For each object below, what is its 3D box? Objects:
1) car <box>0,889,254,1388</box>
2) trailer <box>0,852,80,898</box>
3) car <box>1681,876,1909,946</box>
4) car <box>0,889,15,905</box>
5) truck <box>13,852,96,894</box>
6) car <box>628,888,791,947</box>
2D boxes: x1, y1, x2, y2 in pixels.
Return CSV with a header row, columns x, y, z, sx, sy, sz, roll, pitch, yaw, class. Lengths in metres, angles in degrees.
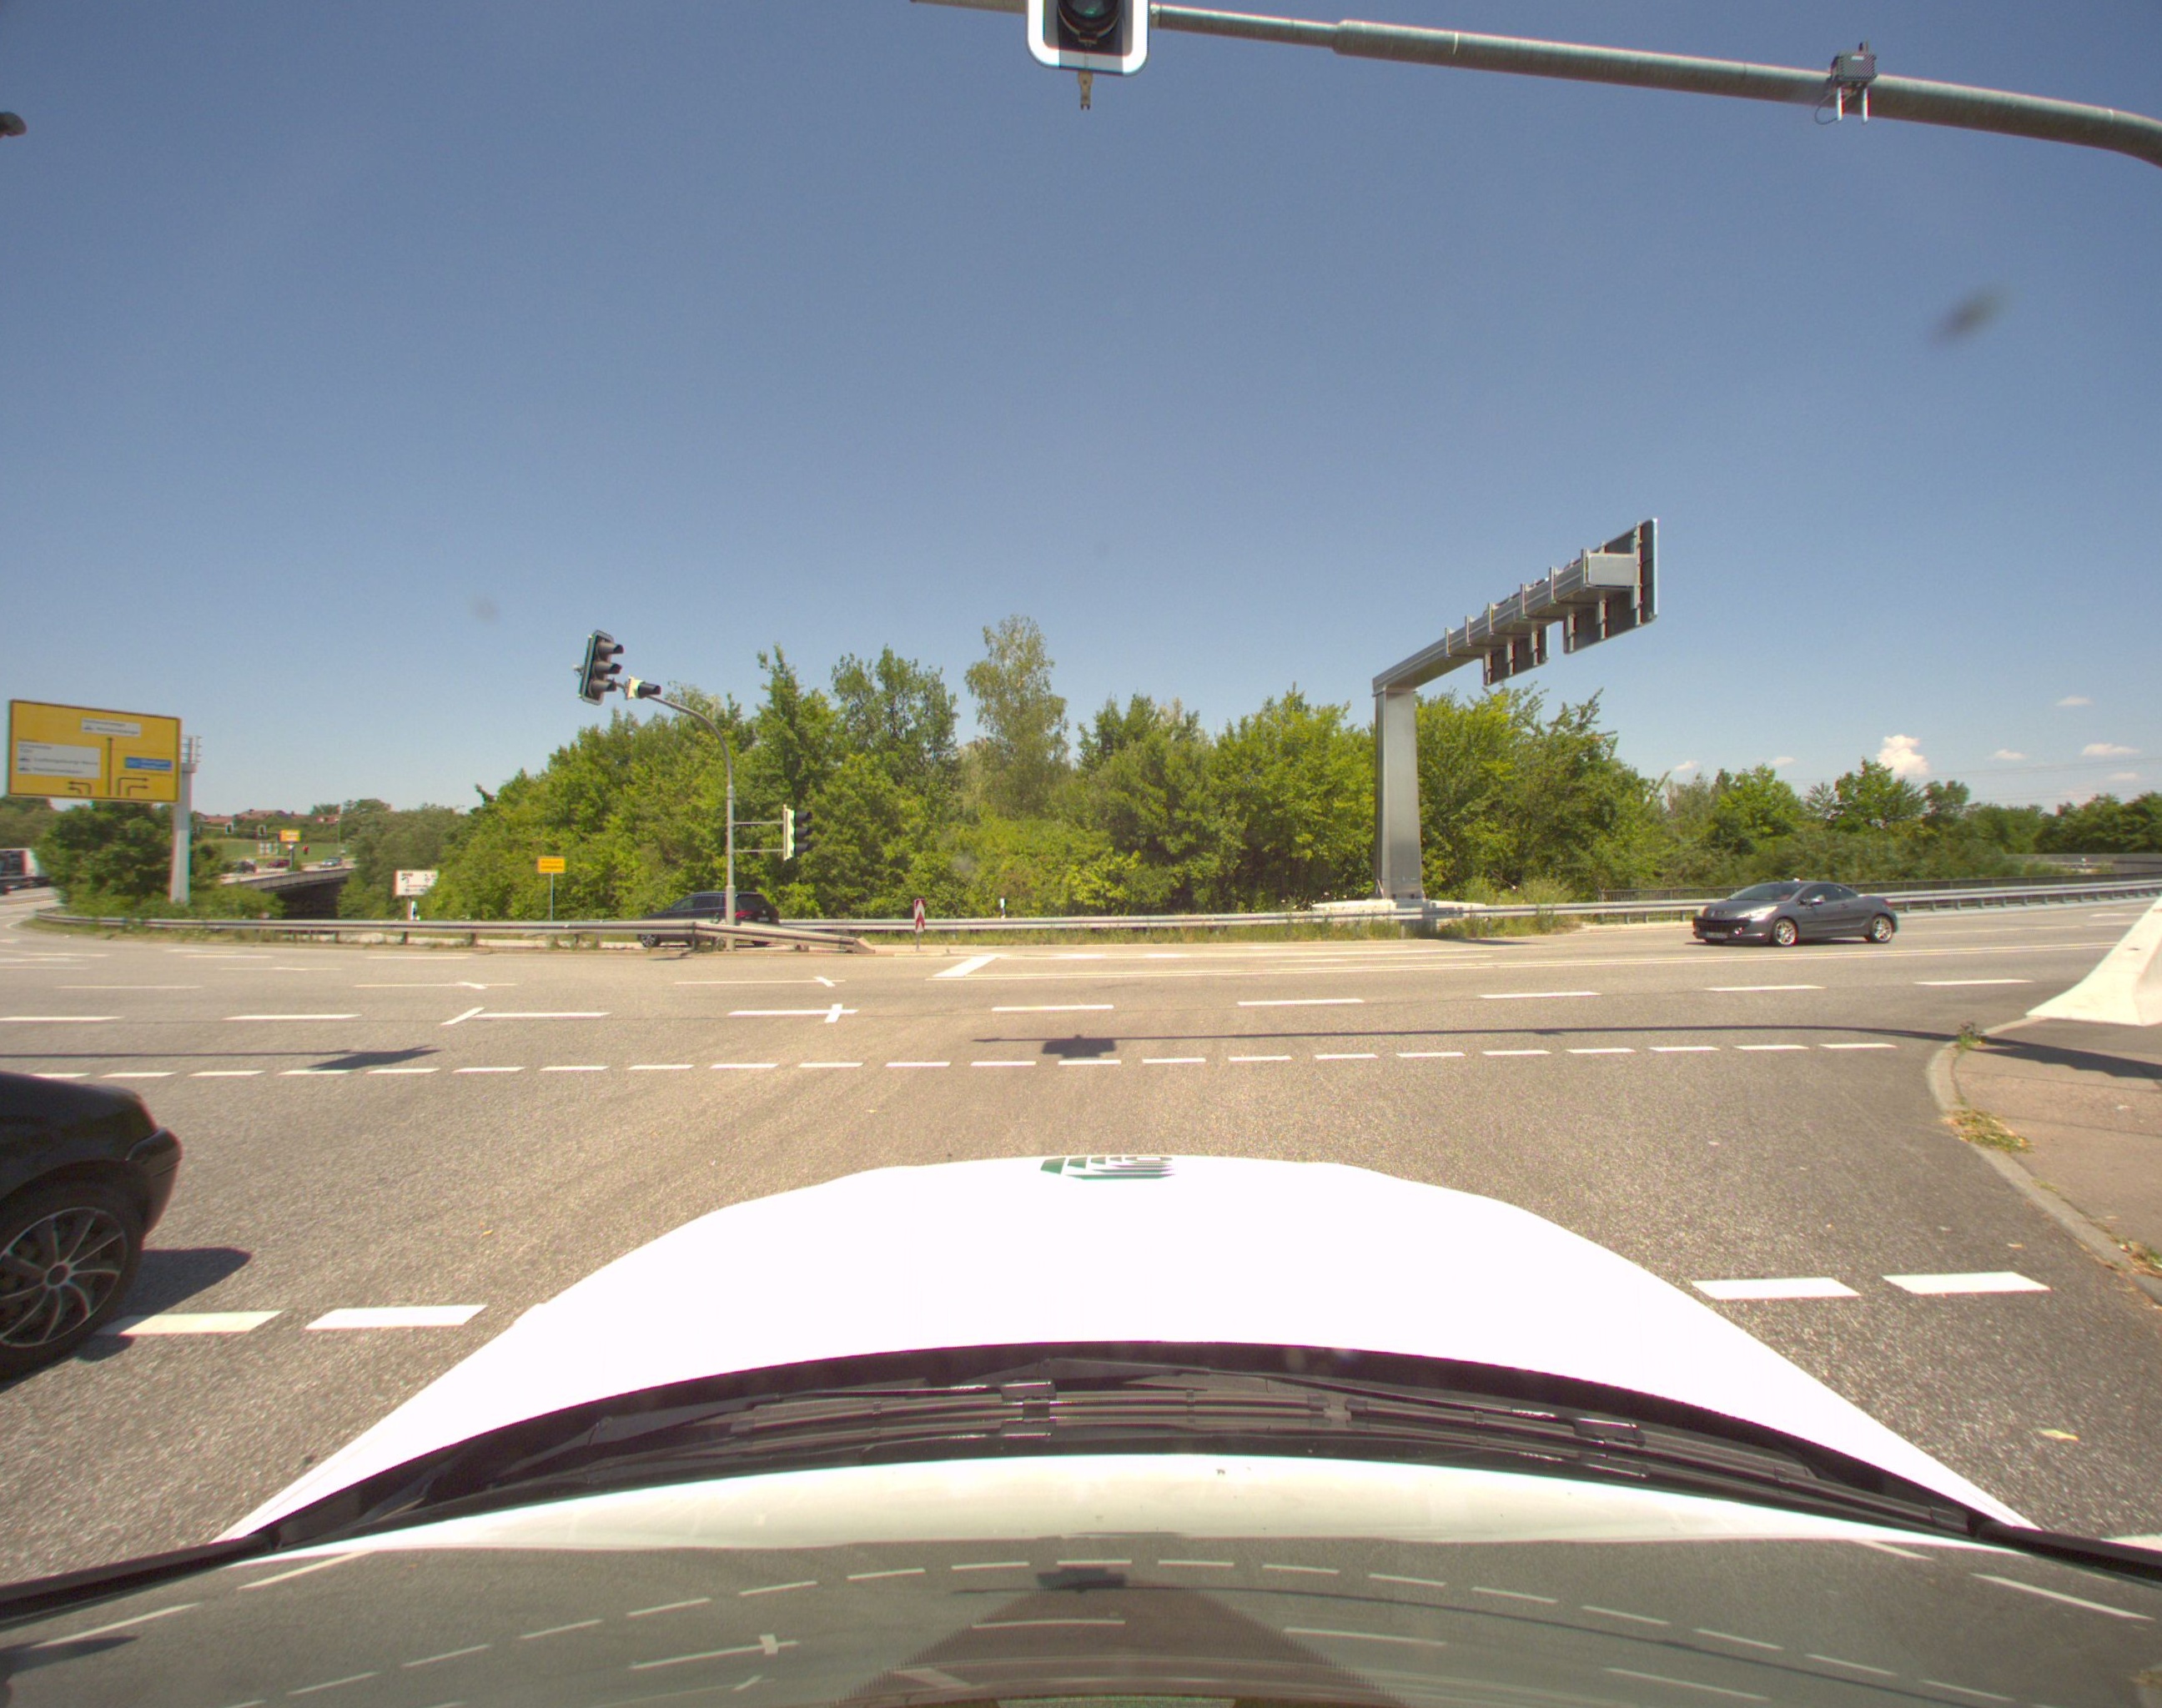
x,y,z,sx,sy,sz,roll,pitch,yaw,class
-3.841,0.824,1.385,1.616,1.407,3.295,0,-1,-5,car
-104.931,1.942,79.524,3.250,4.248,15.268,0,0,-28,trailer
15.610,1.231,17.879,3.957,1.352,1.644,-1,-4,-11,car
-96.624,3.802,71.806,1.818,1.434,3.888,2,-4,-32,car
-108.489,1.932,86.219,3.250,4.248,6.181,0,0,-28,truck
-11.070,1.916,24.312,4.226,1.632,1.913,-2,-5,19,car
